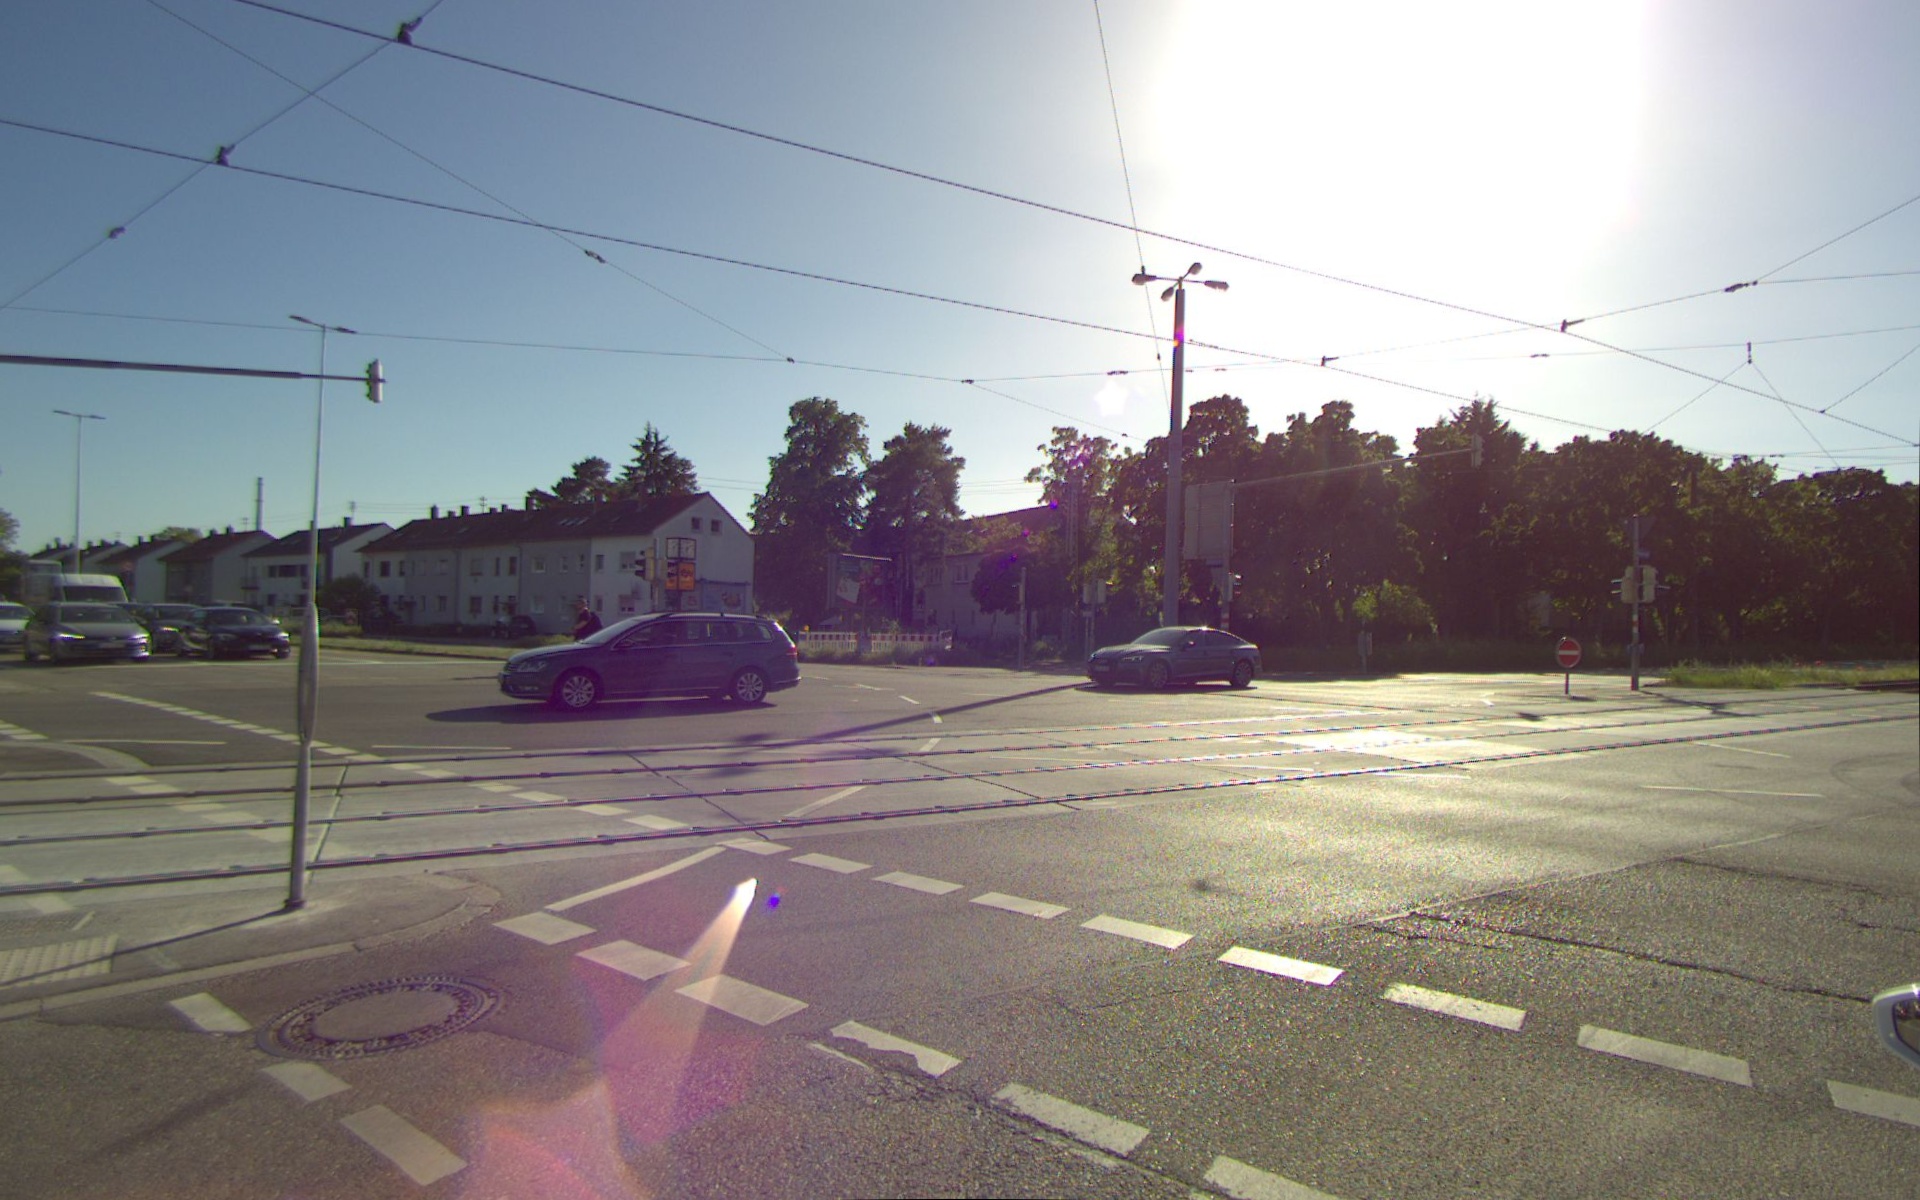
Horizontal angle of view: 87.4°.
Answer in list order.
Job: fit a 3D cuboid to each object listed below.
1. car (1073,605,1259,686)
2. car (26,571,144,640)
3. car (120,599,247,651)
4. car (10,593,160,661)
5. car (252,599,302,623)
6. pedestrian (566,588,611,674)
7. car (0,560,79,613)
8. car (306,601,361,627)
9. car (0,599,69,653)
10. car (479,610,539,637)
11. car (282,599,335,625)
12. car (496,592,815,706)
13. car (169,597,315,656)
[{"bbox_3d":[4.730,1.027,22.955,3.953,1.710,1.784,2,-2,-29],"label":"car"},{"bbox_3d":[-33.607,0.228,38.517,5.826,2.443,2.173,0,-2,37],"label":"car"},{"bbox_3d":[-24.026,0.737,31.053,4.188,1.486,1.932,1,0,35],"label":"car"},{"bbox_3d":[-21.512,0.623,24.650,4.558,1.496,1.668,1,-1,35],"label":"car"},{"bbox_3d":[-53.141,0.834,78.145,3.934,1.785,1.993,1,-1,36],"label":"car"},{"bbox_3d":[-8.712,0.723,23.587,0.599,1.974,0.776,1,-1,18],"label":"pedestrian"},{"bbox_3d":[-38.543,-0.531,41.825,3.933,2.040,1.803,0,-2,34],"label":"car"},{"bbox_3d":[-44.690,1.008,71.627,3.934,1.785,1.993,1,-1,36],"label":"car"},{"bbox_3d":[-27.874,0.726,29.211,4.293,1.485,1.933,0,-2,35],"label":"car"},{"bbox_3d":[-30.586,1.585,68.155,3.935,1.785,1.993,0,-1,36],"label":"car"},{"bbox_3d":[-48.385,0.886,74.627,3.934,1.785,1.993,1,-1,36],"label":"car"},{"bbox_3d":[-4.876,0.776,16.348,4.643,1.617,1.802,2,-1,-33],"label":"car"},{"bbox_3d":[-19.751,0.708,27.601,4.178,1.485,1.932,1,-1,34],"label":"car"}]
